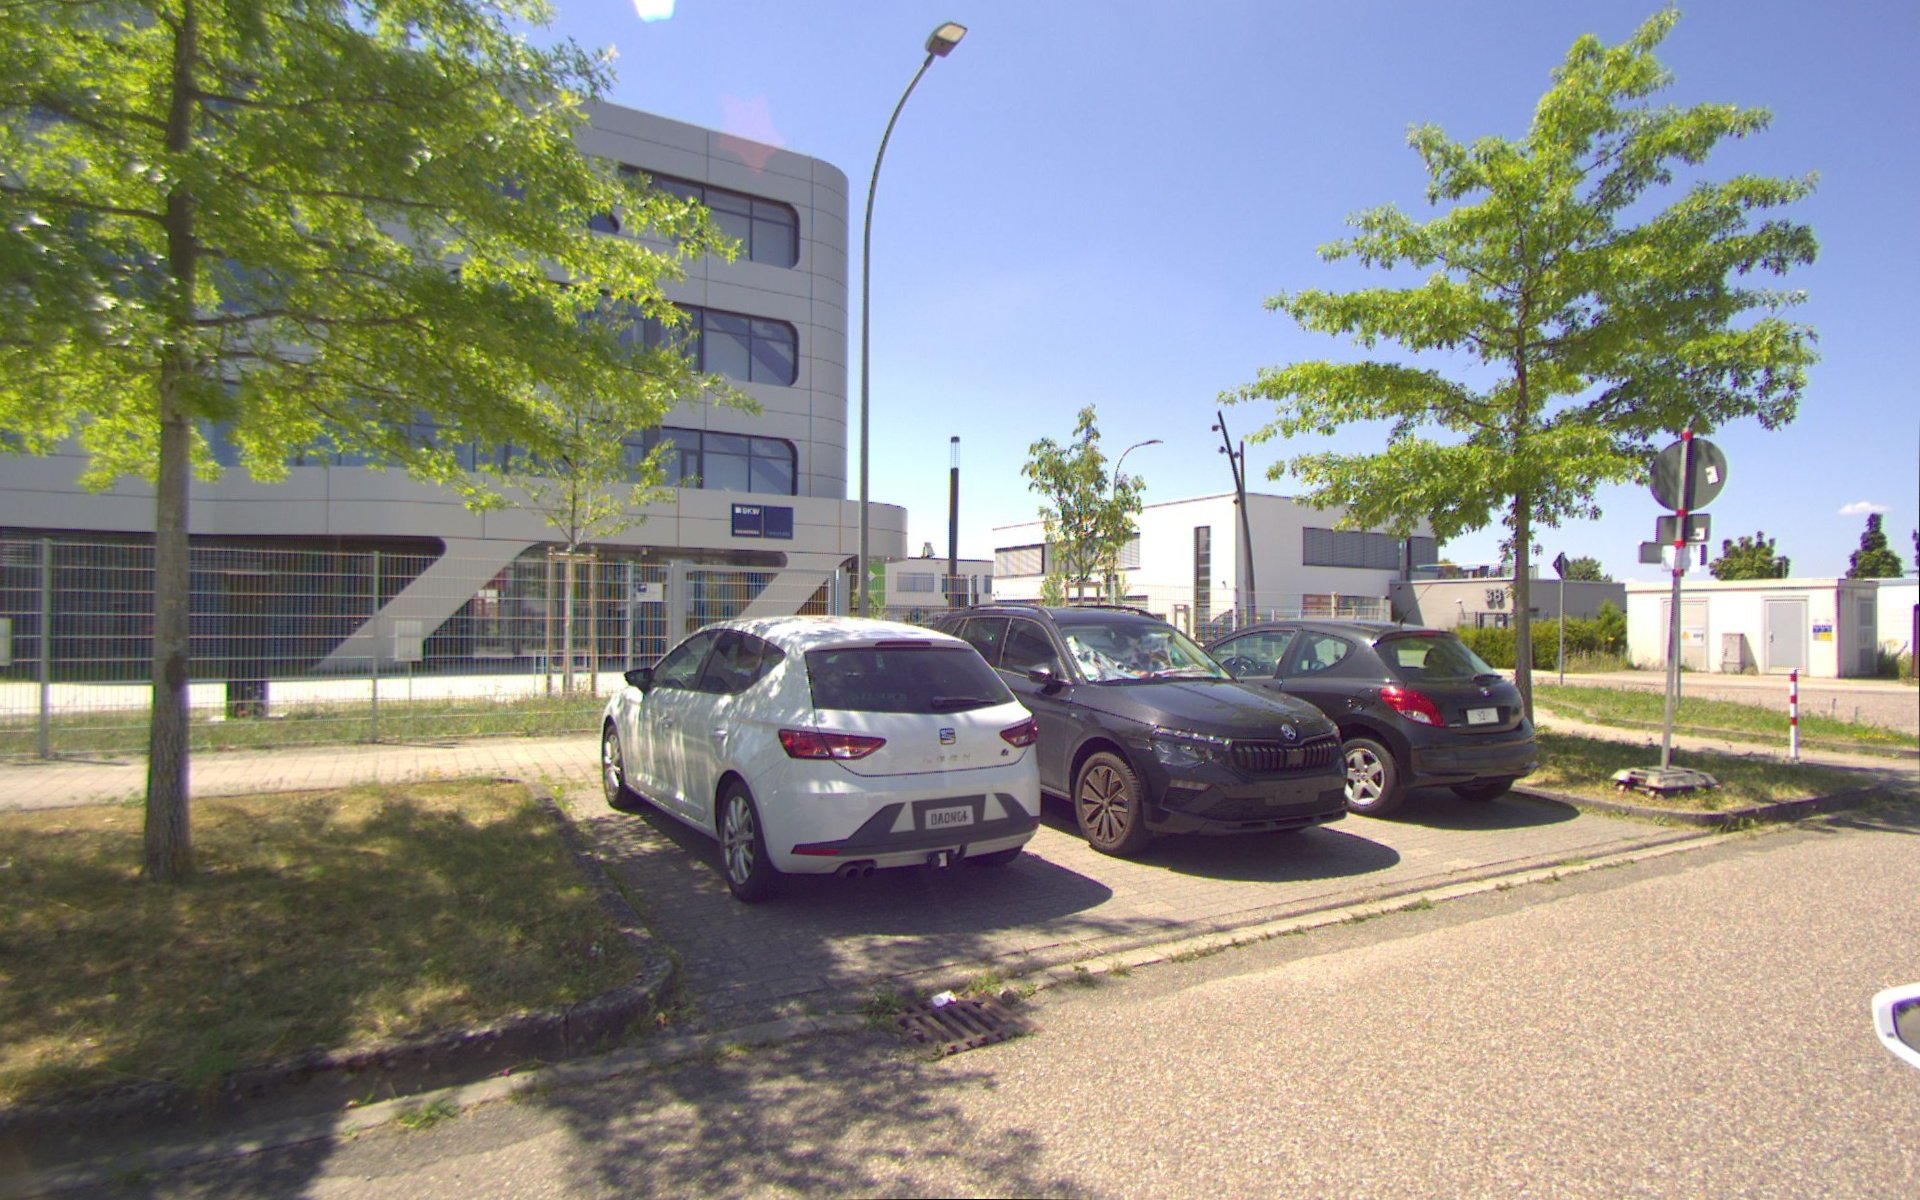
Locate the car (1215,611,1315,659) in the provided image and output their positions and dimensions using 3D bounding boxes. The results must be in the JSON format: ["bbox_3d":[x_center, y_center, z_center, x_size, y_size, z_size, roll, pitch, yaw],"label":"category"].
[{"bbox_3d":[13.665,1.560,45.193,1.979,2.040,3.964,1,-2,-33],"label":"car"}]

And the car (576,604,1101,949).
[{"bbox_3d":[-1.117,0.807,6.666,1.854,1.443,4.051,1,0,-33],"label":"car"}]

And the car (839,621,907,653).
[{"bbox_3d":[-4.734,1.999,54.370,1.979,1.560,3.964,4,-3,-33],"label":"car"}]

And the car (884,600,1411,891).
[{"bbox_3d":[1.124,0.821,7.676,1.765,1.541,3.905,1,0,-32],"label":"car"}]

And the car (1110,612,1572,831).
[{"bbox_3d":[3.201,0.892,9.096,1.707,1.455,3.605,1,0,-32],"label":"car"}]

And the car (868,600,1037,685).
[{"bbox_3d":[-0.232,0.778,18.662,1.658,1.409,3.463,1,-2,-30],"label":"car"}]
